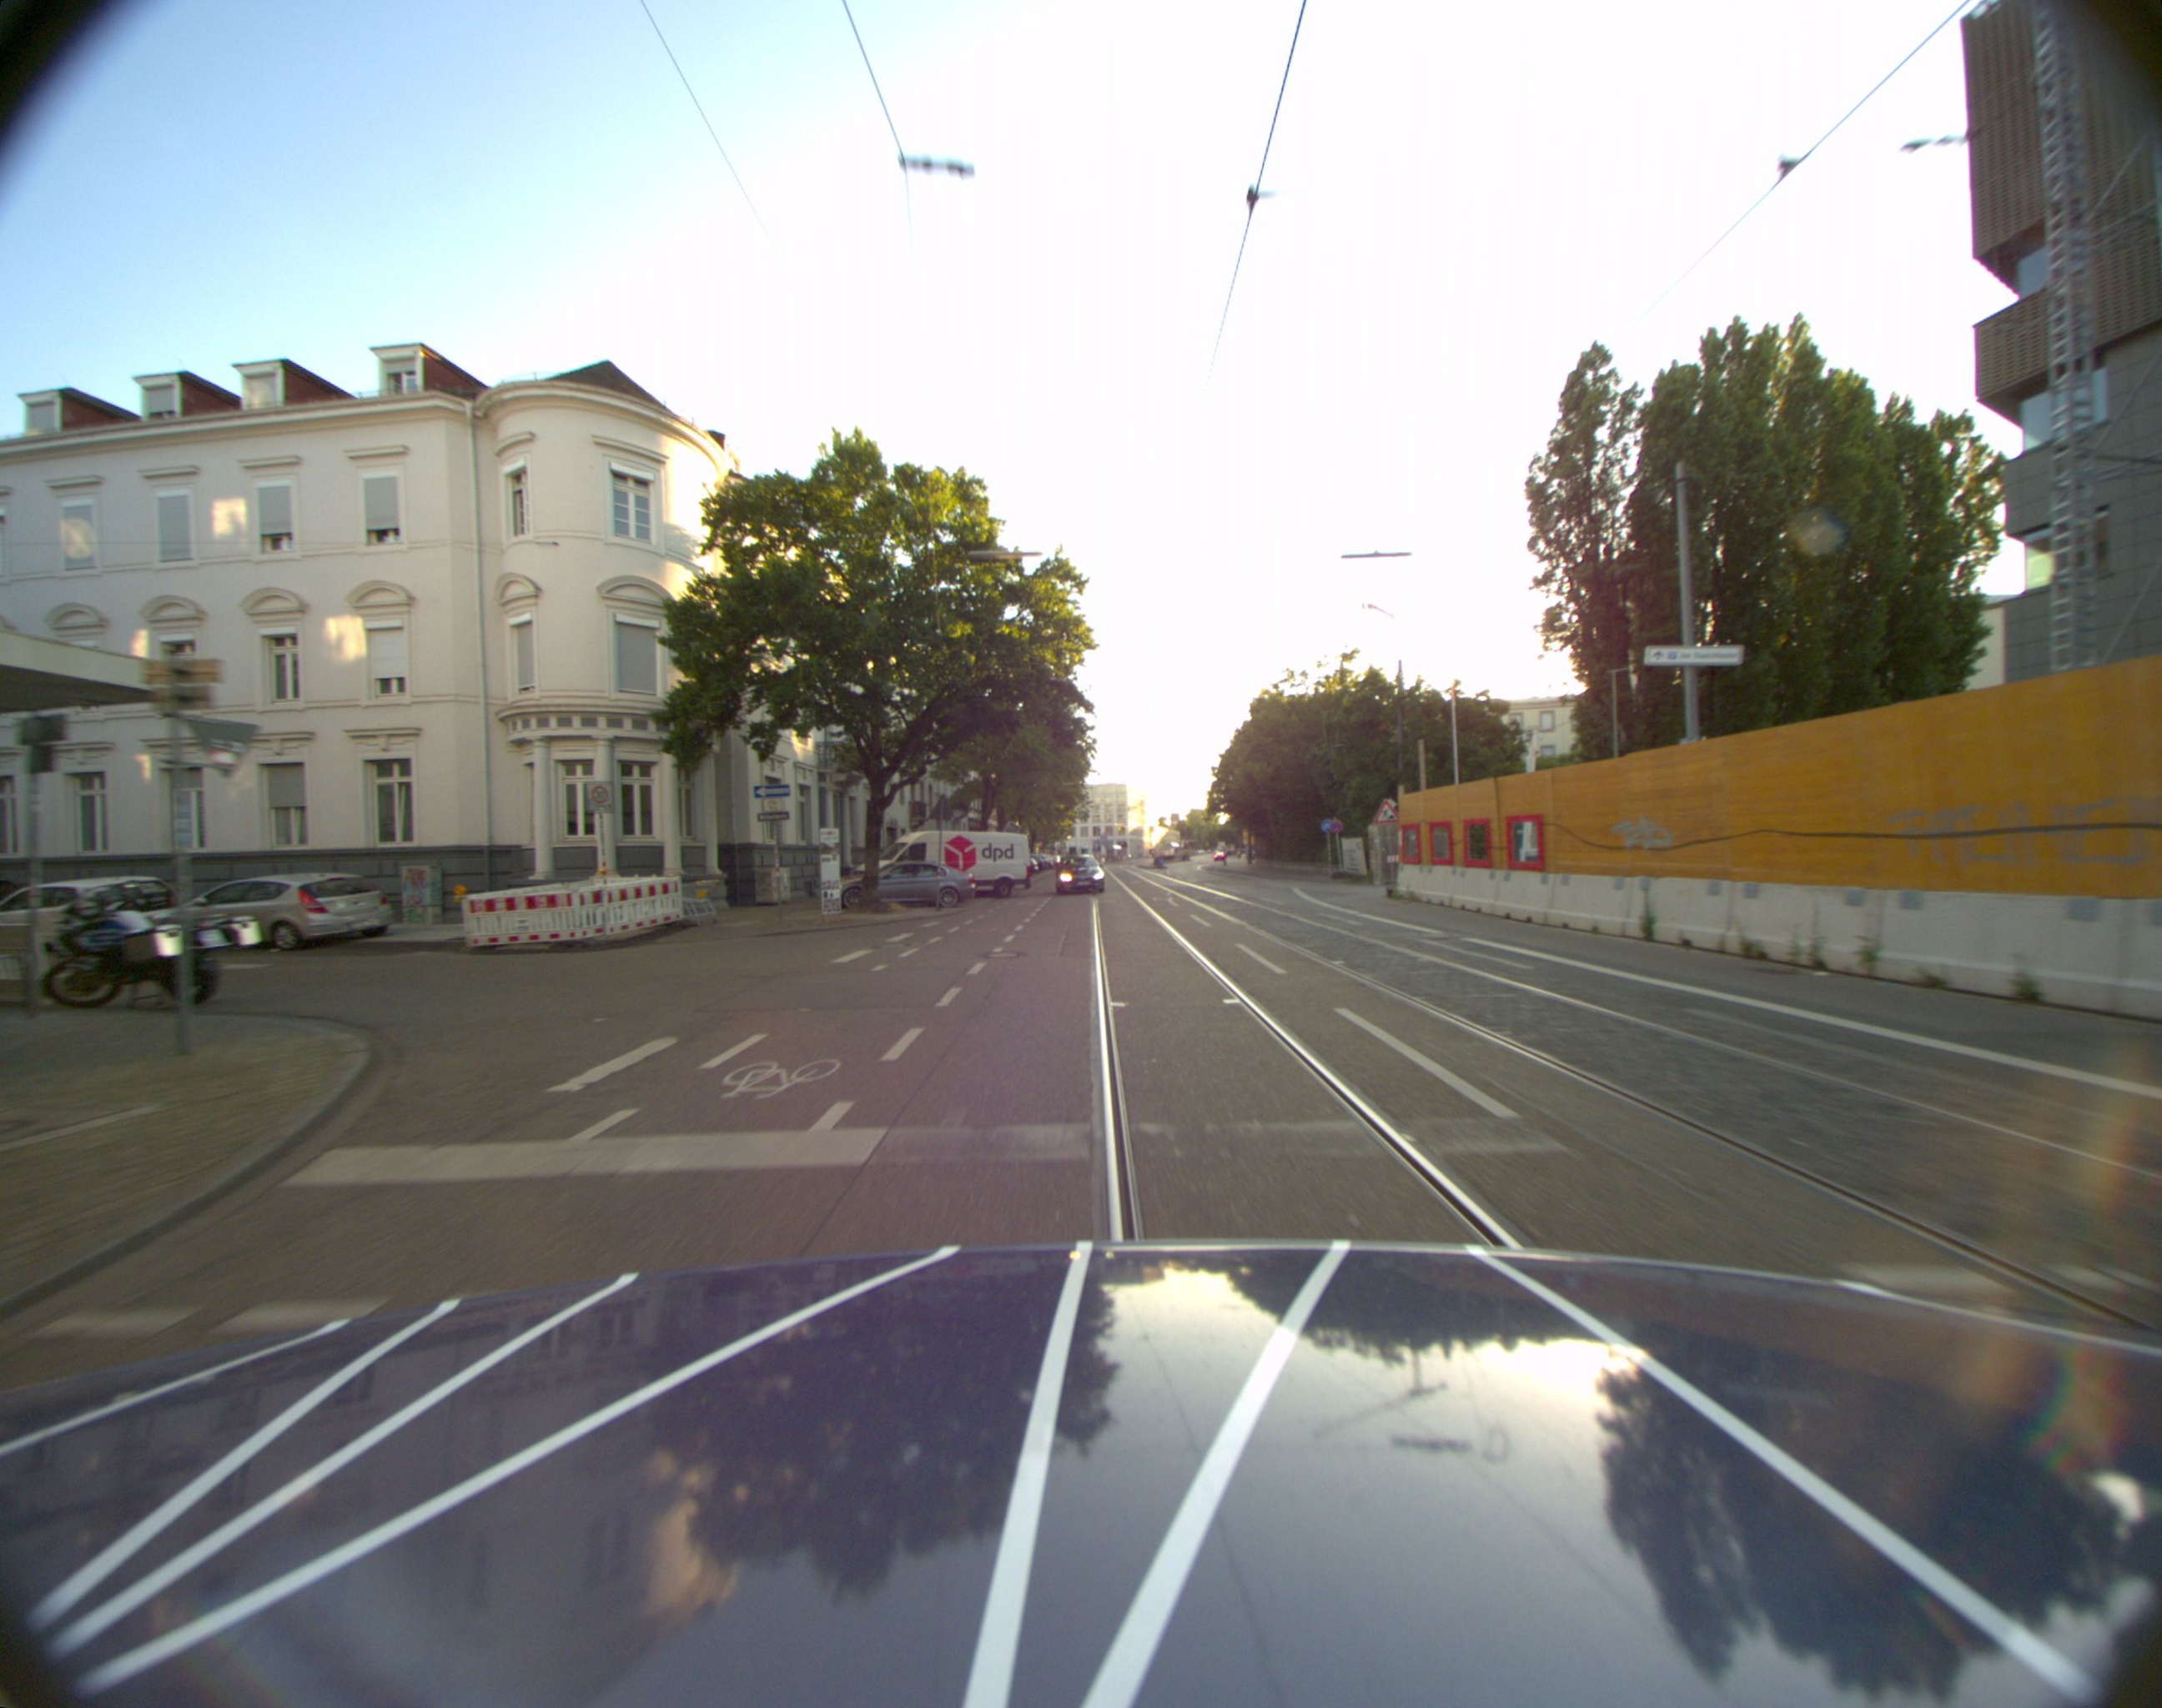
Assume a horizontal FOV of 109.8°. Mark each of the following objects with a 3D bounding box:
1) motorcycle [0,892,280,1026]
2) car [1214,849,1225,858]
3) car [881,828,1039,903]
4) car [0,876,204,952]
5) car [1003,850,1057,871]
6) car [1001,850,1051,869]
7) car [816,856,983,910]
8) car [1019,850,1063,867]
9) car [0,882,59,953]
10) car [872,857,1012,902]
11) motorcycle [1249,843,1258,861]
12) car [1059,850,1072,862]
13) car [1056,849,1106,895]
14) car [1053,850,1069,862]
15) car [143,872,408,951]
[{"bbox_3d":[-11.429,1.230,9.244,2.095,1.397,1.290,-1,1,8],"label":"motorcycle"},{"bbox_3d":[24.777,-0.114,135.954,1.997,1.674,4.003,-1,0,11],"label":"car"},{"bbox_3d":[-4.659,0.368,29.629,5.650,2.678,2.166,-1,0,-34],"label":"car"},{"bbox_3d":[-22.145,1.280,16.702,3.893,1.484,1.855,-1,0,7],"label":"car"},{"bbox_3d":[-4.278,0.535,64.201,4.217,1.600,1.699,-1,1,-28],"label":"car"},{"bbox_3d":[-5.059,0.510,69.889,4.217,1.600,1.739,-1,1,-28],"label":"car"},{"bbox_3d":[-5.504,0.872,23.129,4.614,1.504,1.858,1,-1,-26],"label":"car"},{"bbox_3d":[-4.131,0.472,78.275,4.217,1.600,1.739,-1,1,-28],"label":"car"},{"bbox_3d":[-26.222,1.479,17.261,3.893,1.568,1.855,-1,0,7],"label":"car"},{"bbox_3d":[-4.859,0.864,26.617,4.413,1.436,1.983,1,0,-27],"label":"car"},{"bbox_3d":[24.257,-0.289,106.896,1.022,2.429,2.669,-1,0,9],"label":"motorcycle"},{"bbox_3d":[-2.279,0.210,110.172,1.742,1.600,3.820,-2,1,0],"label":"car"},{"bbox_3d":[0.052,0.701,31.646,1.840,1.631,4.168,-5,0,1],"label":"car"},{"bbox_3d":[-2.724,0.245,105.131,1.741,1.600,3.823,-1,0,5],"label":"car"},{"bbox_3d":[-16.922,1.189,16.084,3.893,1.482,1.855,-1,0,7],"label":"car"}]
